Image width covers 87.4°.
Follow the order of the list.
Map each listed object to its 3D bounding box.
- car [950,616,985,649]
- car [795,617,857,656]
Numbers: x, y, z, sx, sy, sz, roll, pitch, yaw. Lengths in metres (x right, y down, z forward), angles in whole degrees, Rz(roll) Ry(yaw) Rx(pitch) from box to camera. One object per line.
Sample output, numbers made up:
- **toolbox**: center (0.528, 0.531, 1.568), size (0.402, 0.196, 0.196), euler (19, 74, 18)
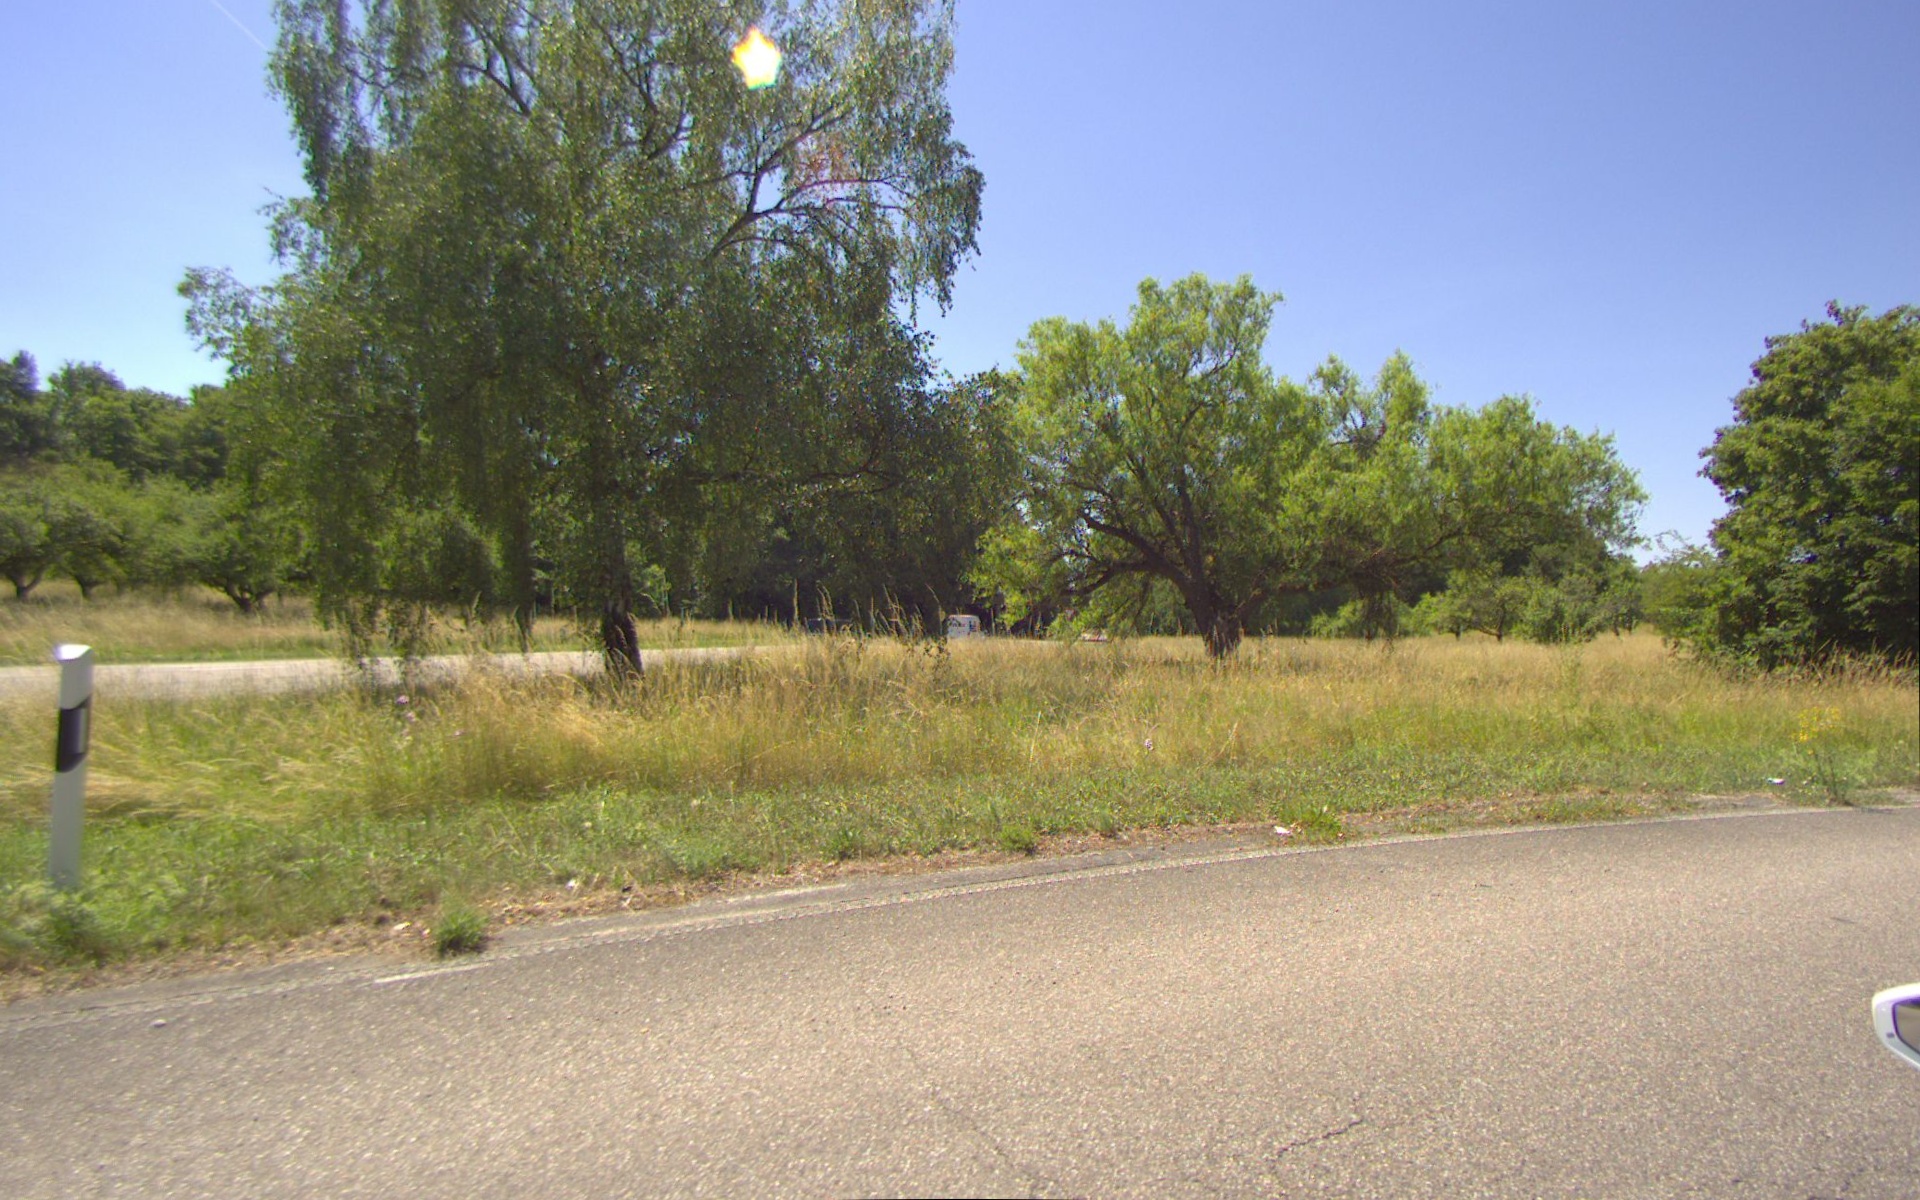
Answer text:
- **car**: center (0.642, 2.647, 82.071), size (2.081, 2.534, 4.092), euler (2, -1, 11)
- **car**: center (-7.146, 1.941, 54.096), size (1.959, 1.973, 4.092), euler (2, -1, 13)
